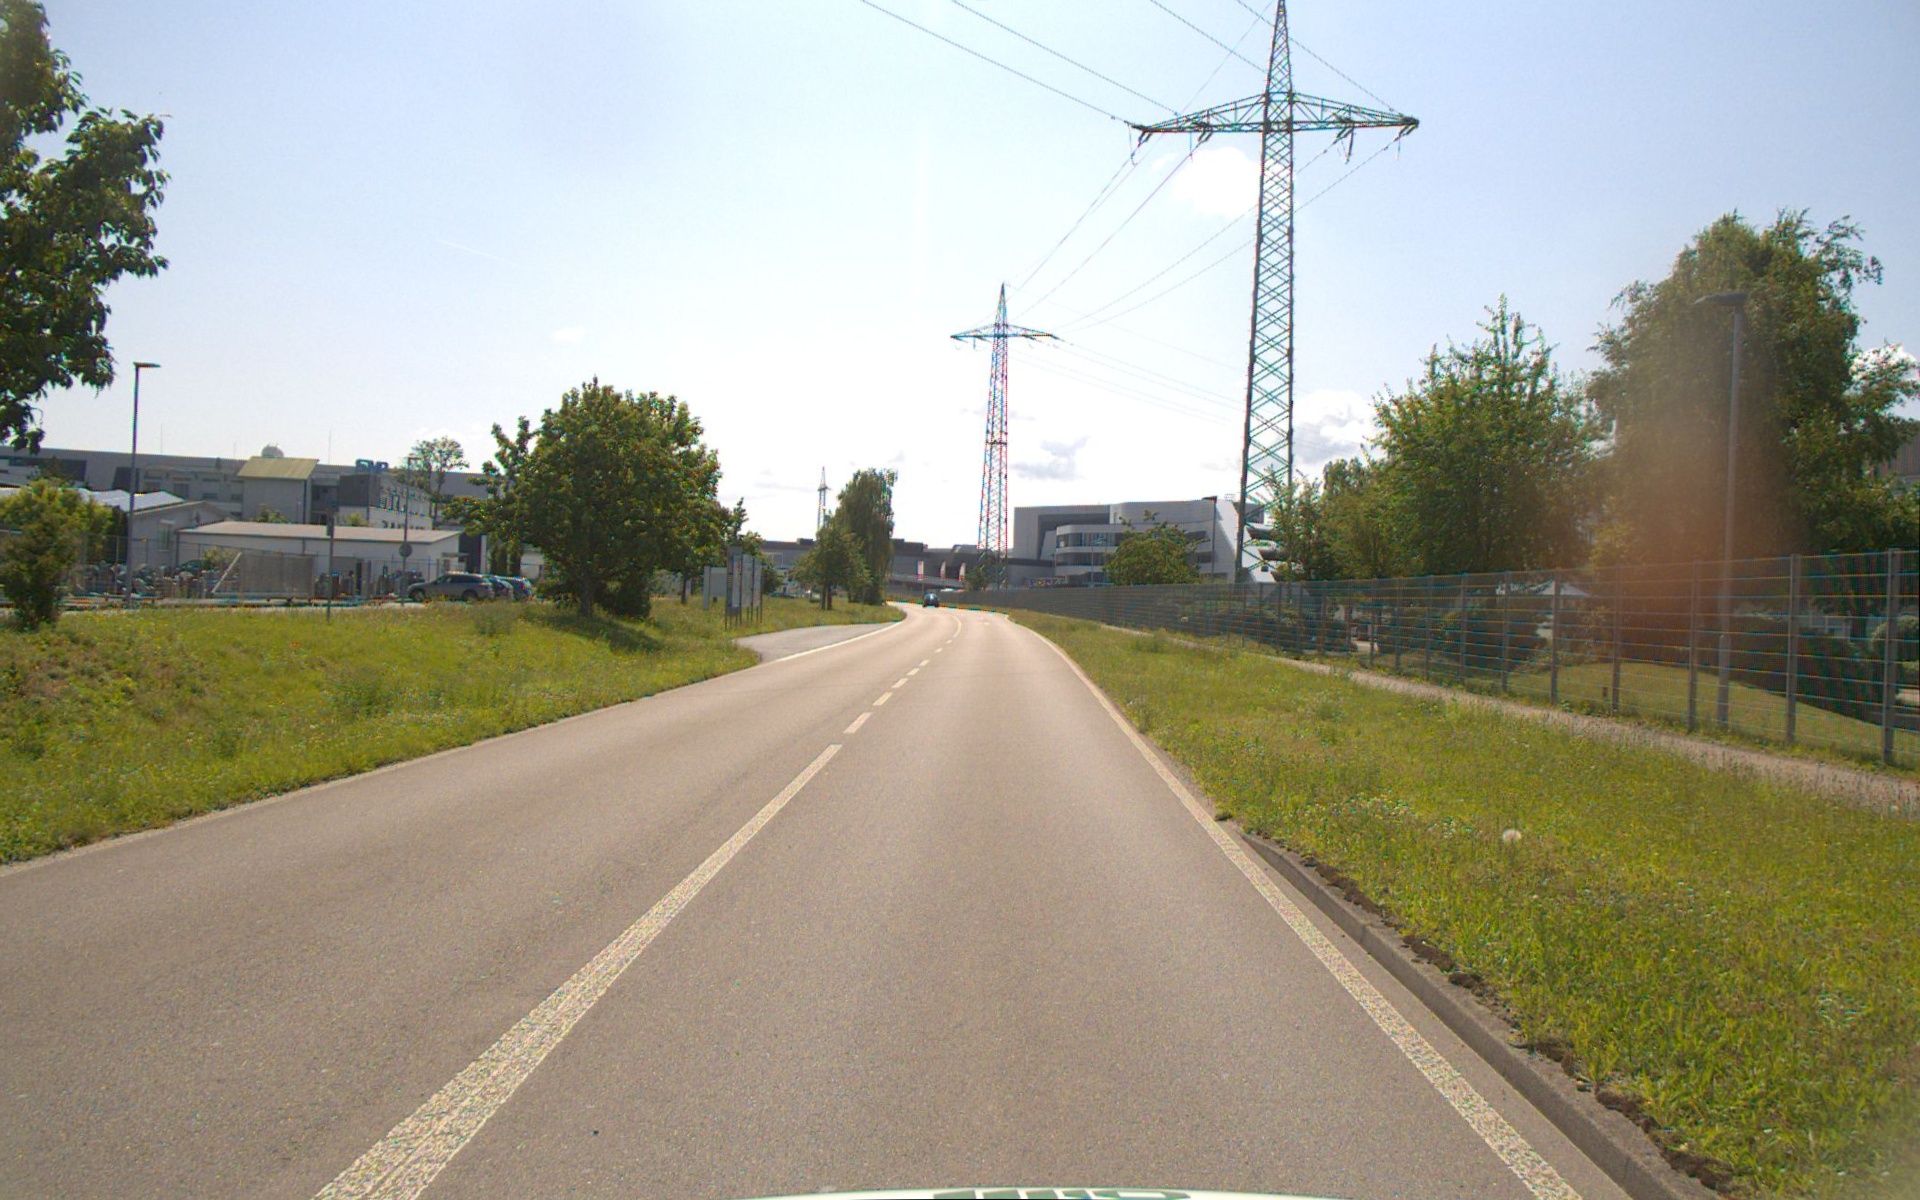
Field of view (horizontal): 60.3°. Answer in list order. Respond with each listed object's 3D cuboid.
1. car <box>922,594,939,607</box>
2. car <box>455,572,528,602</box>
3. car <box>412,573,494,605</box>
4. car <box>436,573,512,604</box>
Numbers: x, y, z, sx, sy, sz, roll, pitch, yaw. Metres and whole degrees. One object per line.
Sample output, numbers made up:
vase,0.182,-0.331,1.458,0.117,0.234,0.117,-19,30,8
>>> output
car,-3.542,0.081,197.421,1.971,1.534,3.998,-1,0,-2
car,-28.794,-0.794,101.677,3.909,1.668,1.998,3,0,-5
car,-27.789,-0.618,90.799,3.909,1.554,1.998,3,0,-5
car,-27.943,-0.673,95.185,3.909,1.582,1.664,3,0,-5
